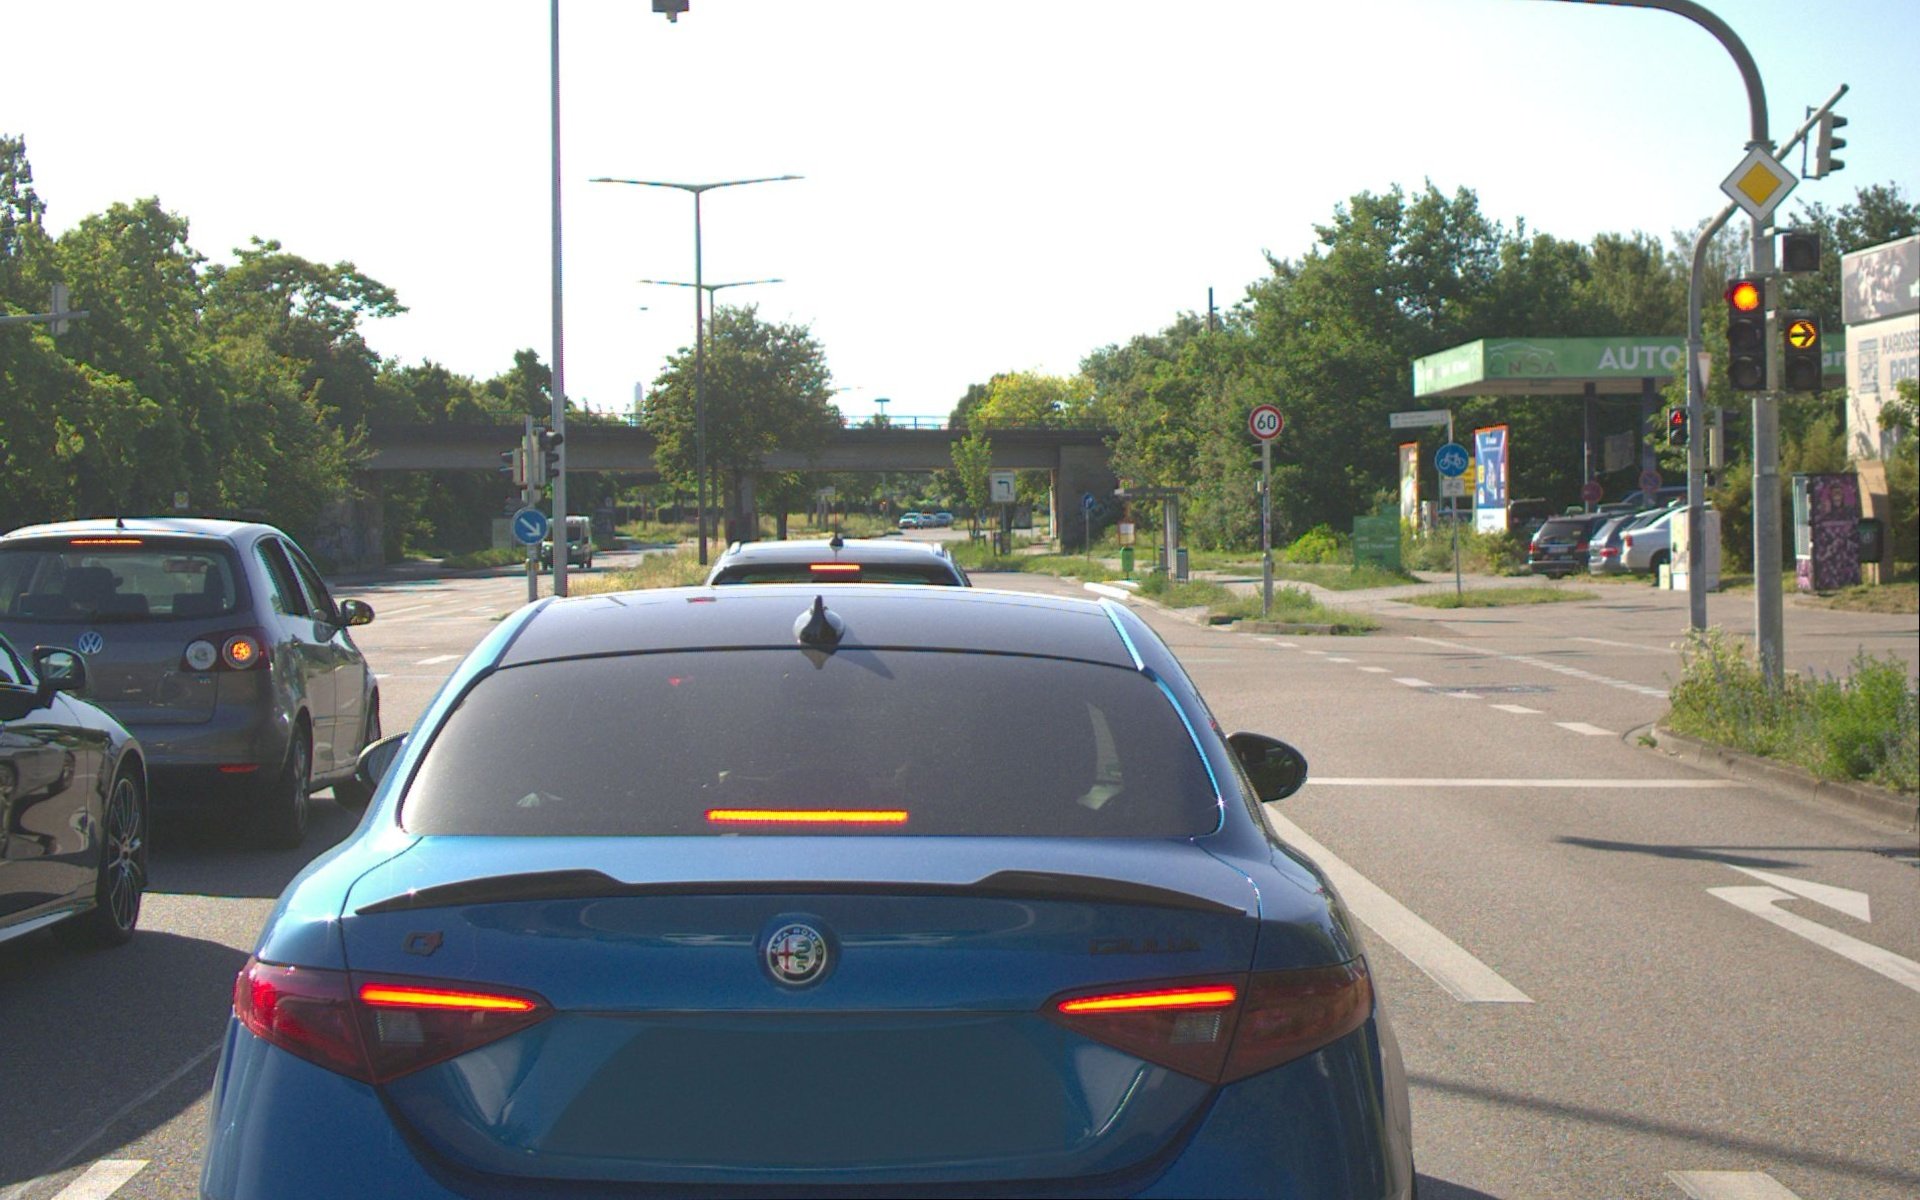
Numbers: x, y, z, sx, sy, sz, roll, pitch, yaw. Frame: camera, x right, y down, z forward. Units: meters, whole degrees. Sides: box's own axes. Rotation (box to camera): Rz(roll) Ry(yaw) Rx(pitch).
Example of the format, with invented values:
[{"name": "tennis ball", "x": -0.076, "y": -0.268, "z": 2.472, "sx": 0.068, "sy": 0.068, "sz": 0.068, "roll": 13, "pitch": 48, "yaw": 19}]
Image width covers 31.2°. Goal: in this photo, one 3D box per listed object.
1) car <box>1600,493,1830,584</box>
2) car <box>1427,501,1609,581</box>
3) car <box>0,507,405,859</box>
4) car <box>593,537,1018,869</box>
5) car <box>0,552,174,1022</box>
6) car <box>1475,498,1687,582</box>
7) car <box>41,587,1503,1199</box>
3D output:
[{"name": "car", "x": 14.511, "y": -1.186, "z": 66.097, "sx": 3.986, "sy": 1.700, "sz": 1.696, "roll": -1, "pitch": 1, "yaw": -16}, {"name": "car", "x": 12.019, "y": -1.277, "z": 74.144, "sx": 3.483, "sy": 1.700, "sz": 1.696, "roll": -1, "pitch": 1, "yaw": -16}, {"name": "car", "x": -3.965, "y": 0.337, "z": 17.568, "sx": 1.648, "sy": 1.593, "sz": 3.932, "roll": 0, "pitch": 1, "yaw": -1}, {"name": "car", "x": -0.701, "y": 0.418, "z": 17.069, "sx": 1.866, "sy": 1.445, "sz": 3.932, "roll": 0, "pitch": 1, "yaw": -1}, {"name": "car", "x": -3.808, "y": 0.577, "z": 10.631, "sx": 1.768, "sy": 1.409, "sz": 4.461, "roll": 0, "pitch": 1, "yaw": -1}, {"name": "car", "x": 12.820, "y": -1.240, "z": 70.953, "sx": 3.986, "sy": 1.700, "sz": 1.696, "roll": -1, "pitch": 1, "yaw": -19}, {"name": "car", "x": -0.263, "y": 0.704, "z": 6.368, "sx": 1.866, "sy": 1.380, "sz": 3.932, "roll": 0, "pitch": 1, "yaw": -1}]
